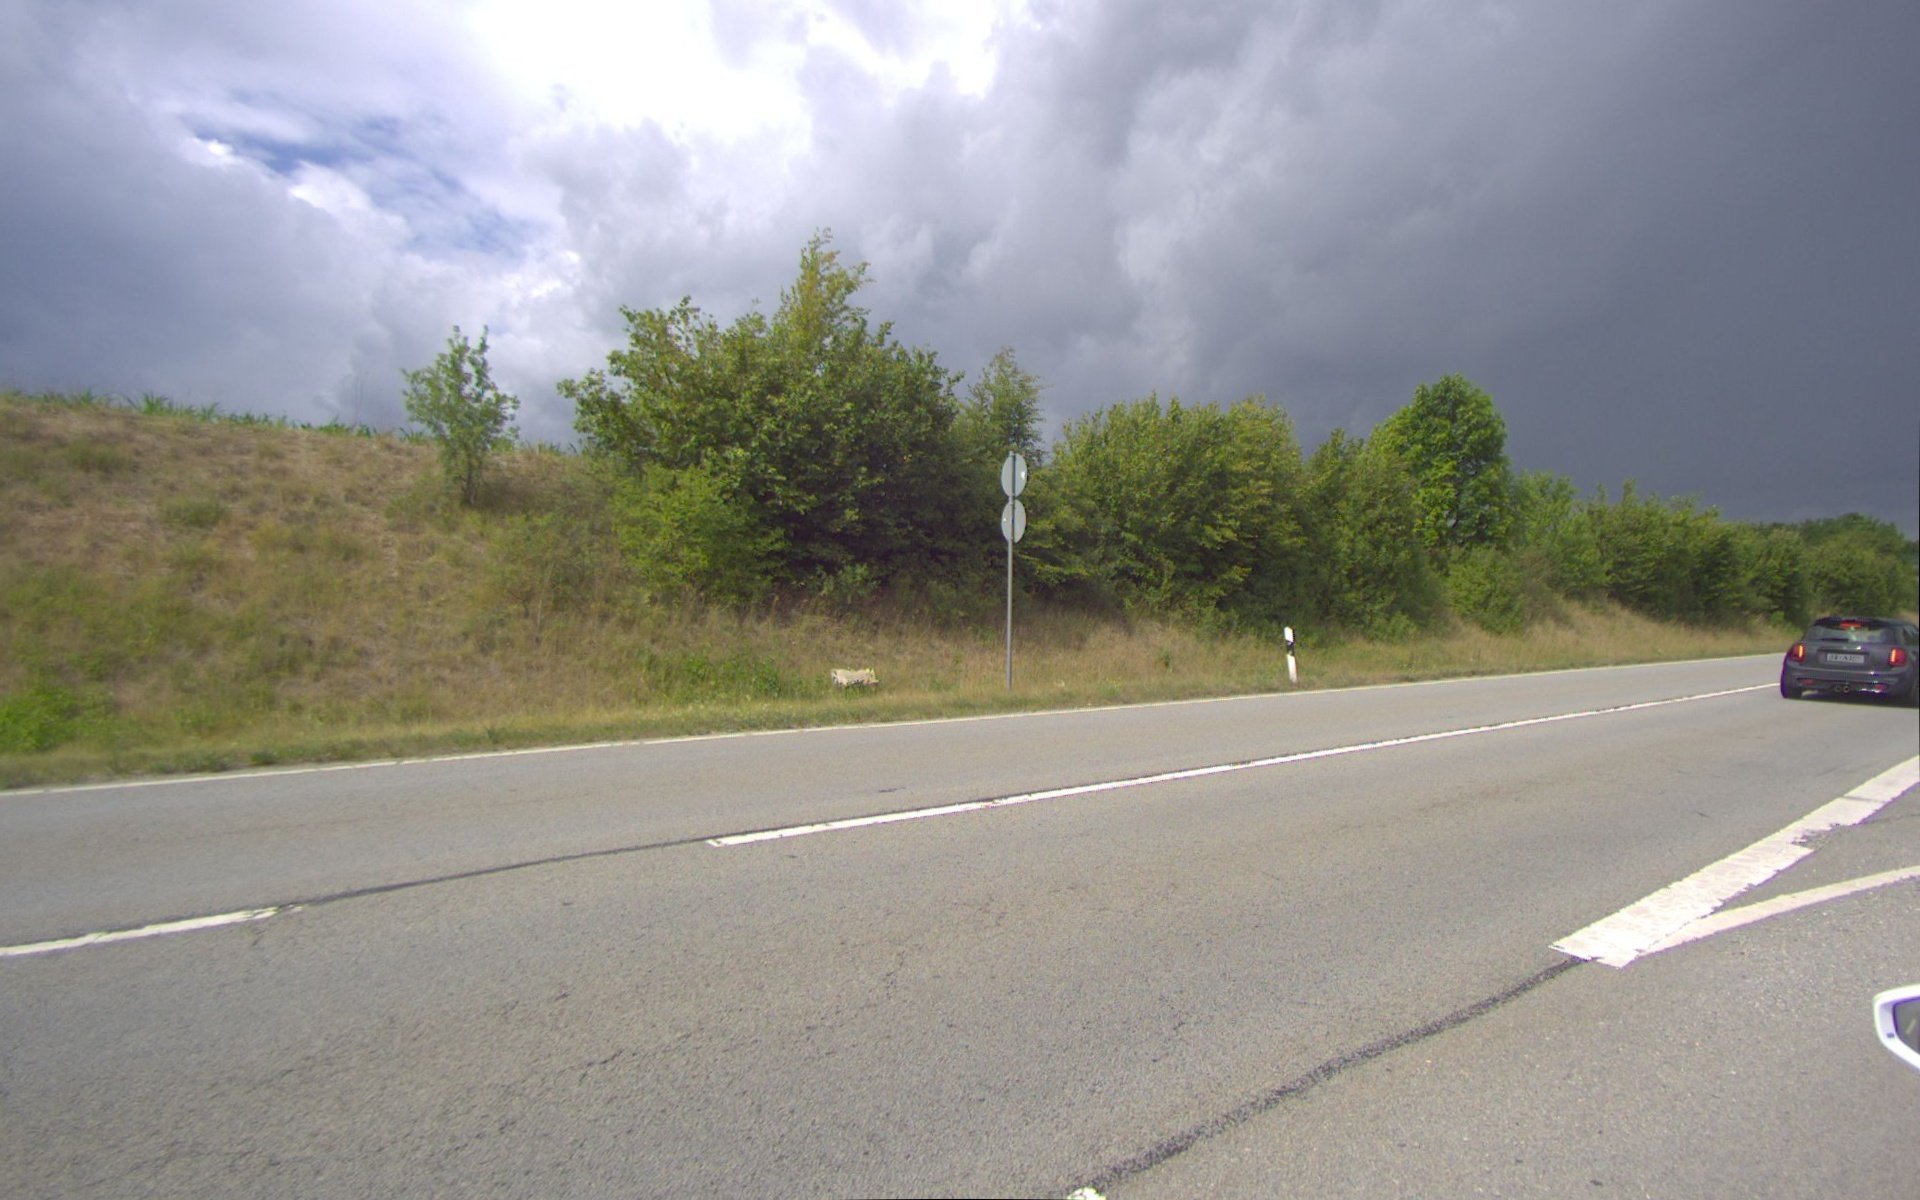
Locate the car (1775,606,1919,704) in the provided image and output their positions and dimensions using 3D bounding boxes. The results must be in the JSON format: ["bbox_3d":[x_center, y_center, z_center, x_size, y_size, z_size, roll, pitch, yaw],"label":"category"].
[{"bbox_3d":[15.740,0.871,17.395,3.966,1.446,1.742,1,2,-40],"label":"car"}]
